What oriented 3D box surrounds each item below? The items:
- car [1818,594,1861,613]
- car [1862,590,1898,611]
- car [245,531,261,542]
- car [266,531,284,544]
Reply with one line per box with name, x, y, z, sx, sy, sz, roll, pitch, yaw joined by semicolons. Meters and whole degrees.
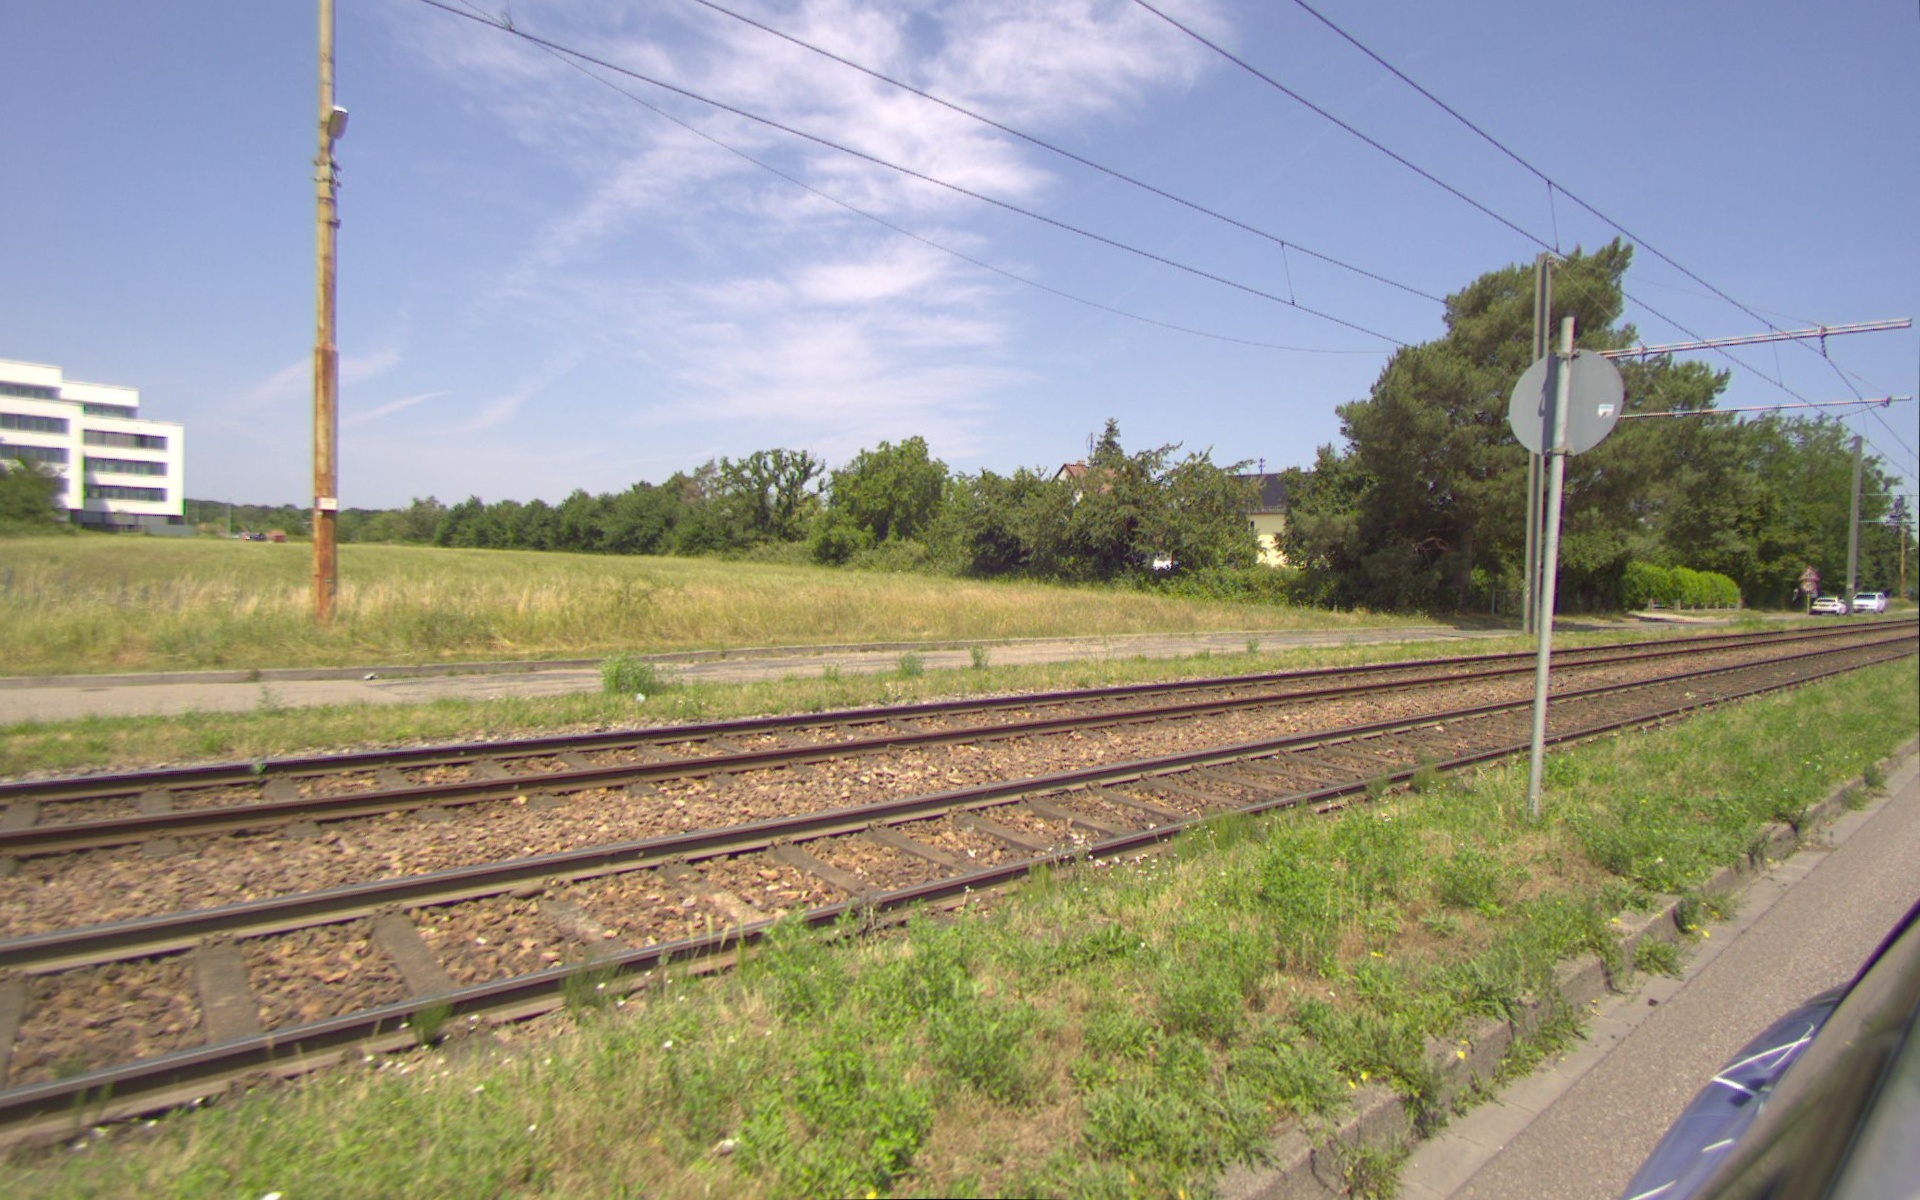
car;69.632;0.288;80.109;3.929;1.401;1.922;0;1;-40
car;84.378;0.049;92.780;4.506;1.849;1.862;0;1;-40
car;-124.765;-11.159;178.675;1.735;1.841;4.208;0;2;-44
car;-112.426;-10.297;166.136;1.834;1.939;4.676;0;2;-43
